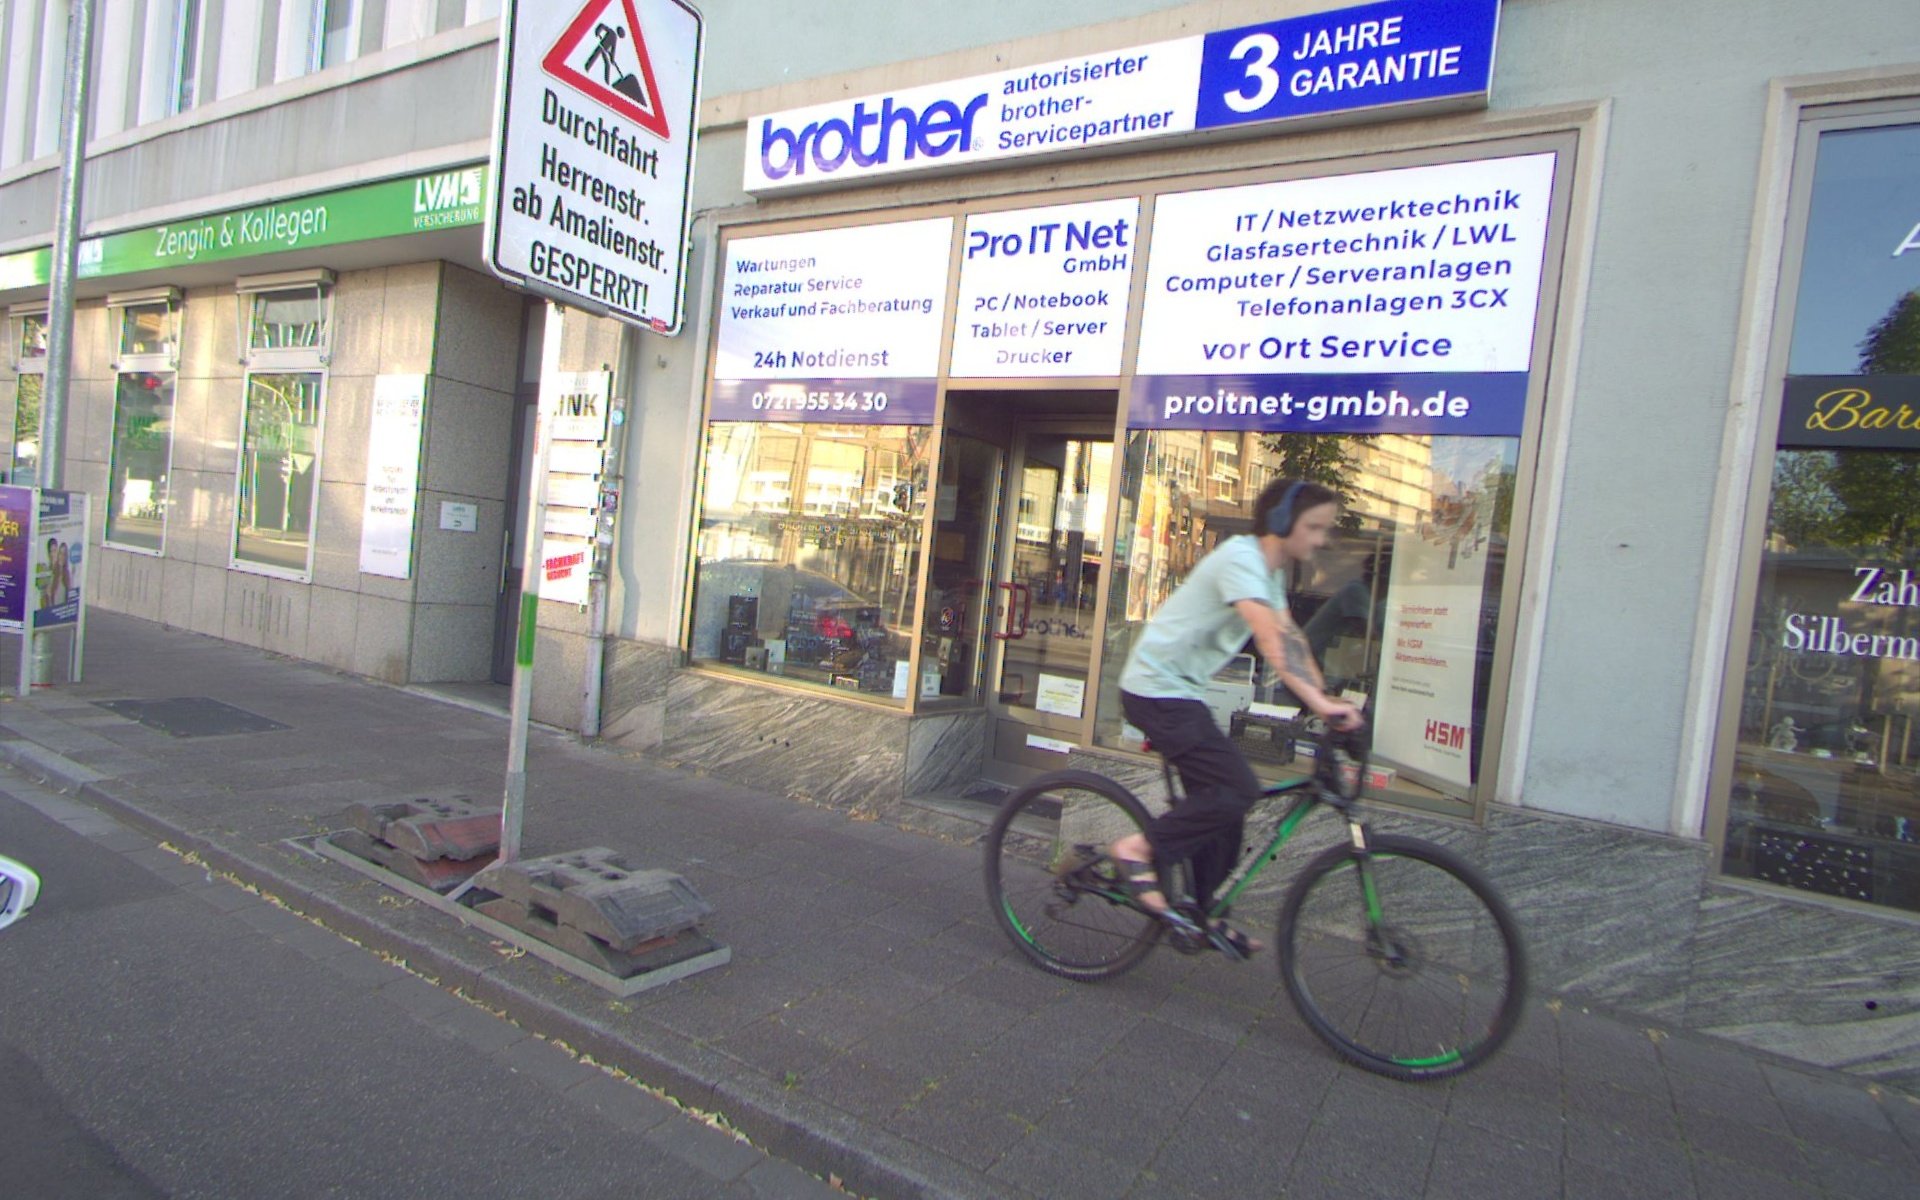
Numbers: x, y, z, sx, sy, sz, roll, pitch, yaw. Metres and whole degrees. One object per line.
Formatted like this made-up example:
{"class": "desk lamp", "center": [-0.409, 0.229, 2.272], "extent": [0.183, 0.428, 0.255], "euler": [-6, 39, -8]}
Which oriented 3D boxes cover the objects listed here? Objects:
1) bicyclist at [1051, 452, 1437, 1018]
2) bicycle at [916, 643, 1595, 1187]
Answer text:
{"class": "bicyclist", "center": [0.932, 0.358, 3.267], "extent": [0.885, 1.527, 0.722], "euler": [7, 2, 32]}
{"class": "bicycle", "center": [0.874, 0.819, 3.257], "extent": [1.864, 1.121, 0.690], "euler": [7, 2, 31]}
